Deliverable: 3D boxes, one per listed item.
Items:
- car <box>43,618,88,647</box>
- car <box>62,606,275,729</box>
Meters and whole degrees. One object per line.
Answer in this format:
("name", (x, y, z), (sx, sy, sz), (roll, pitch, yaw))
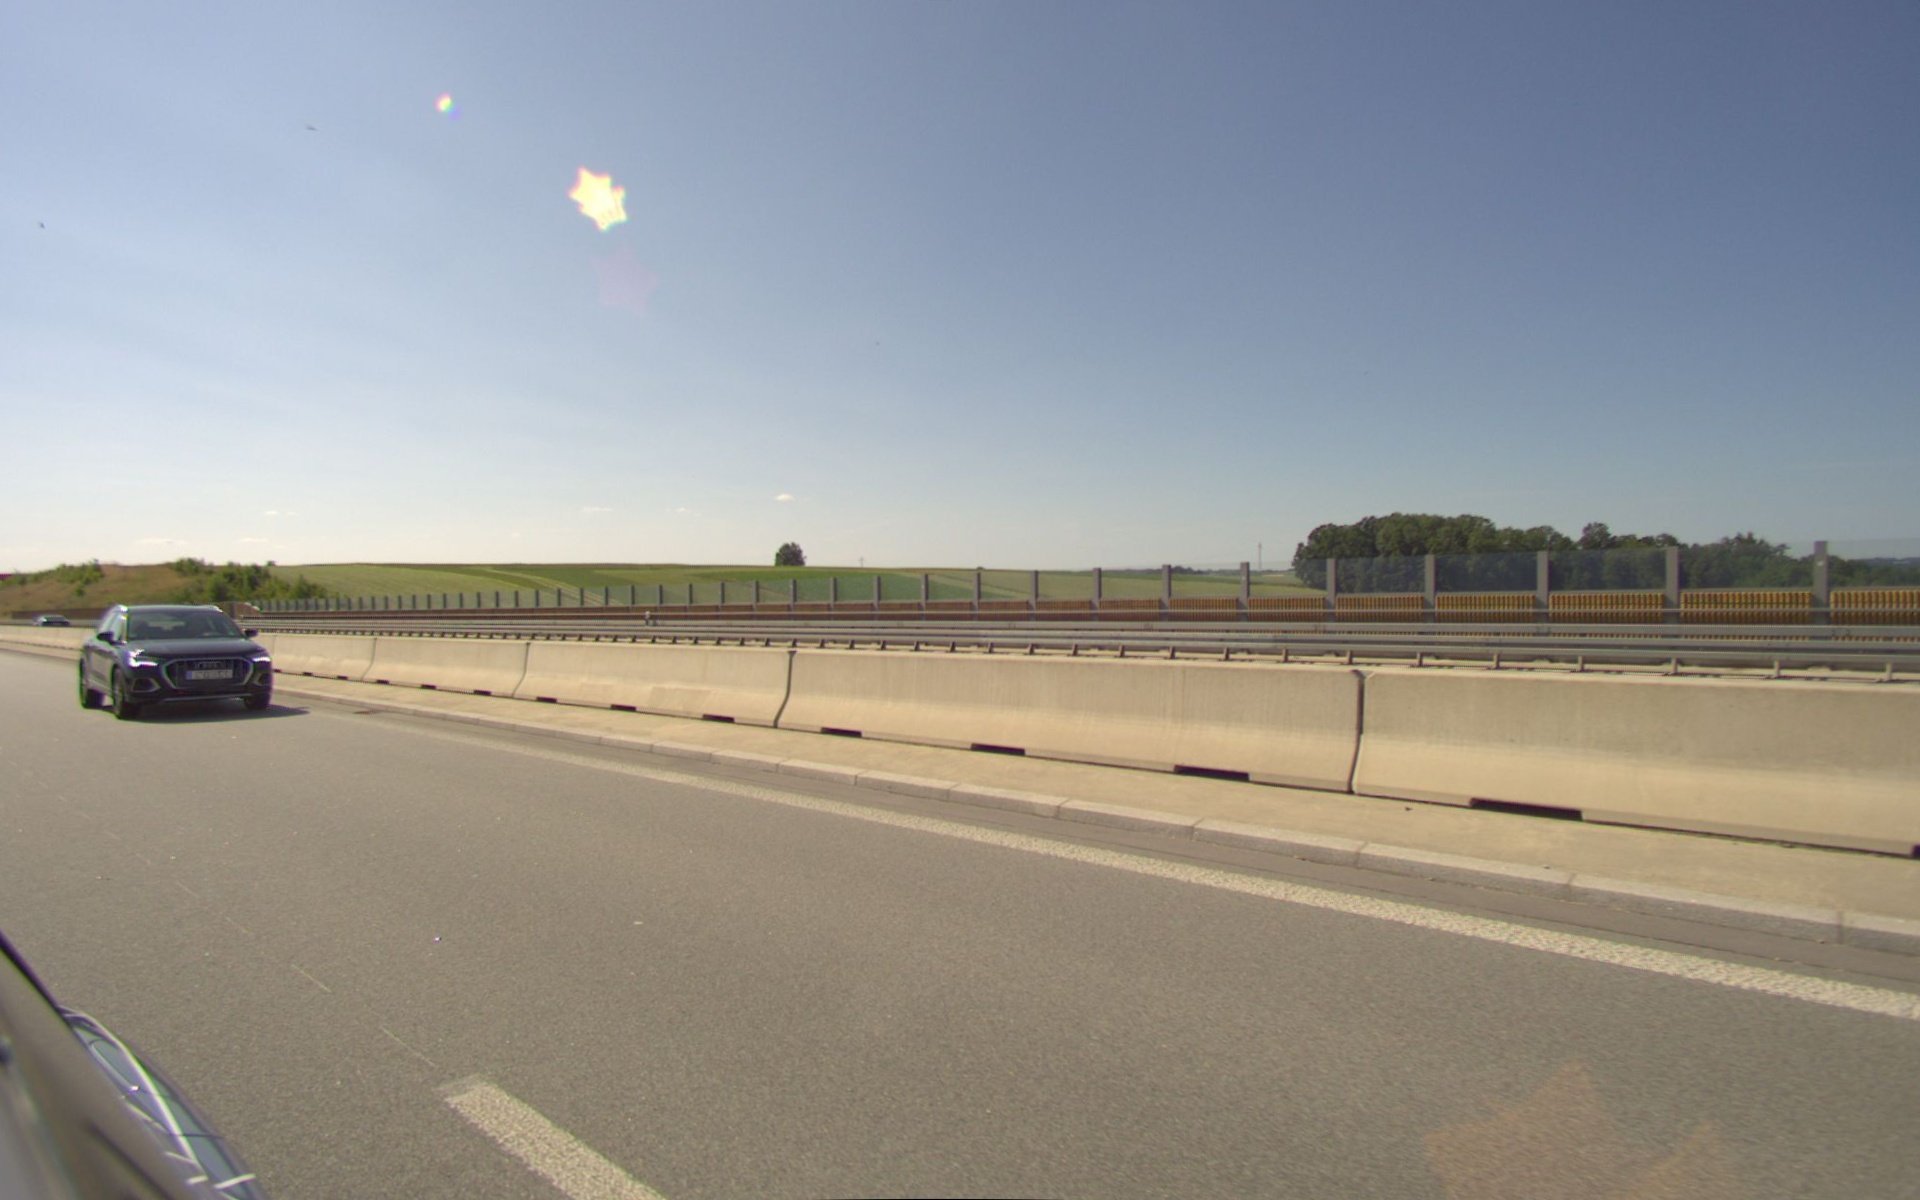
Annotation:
("car", (-65.459, 2.345, 74.065), (4.760, 2.029, 1.972), (-1, 0, 42))
("car", (-12.429, 0.924, 15.743), (5.220, 1.599, 1.704), (-1, 0, 42))
